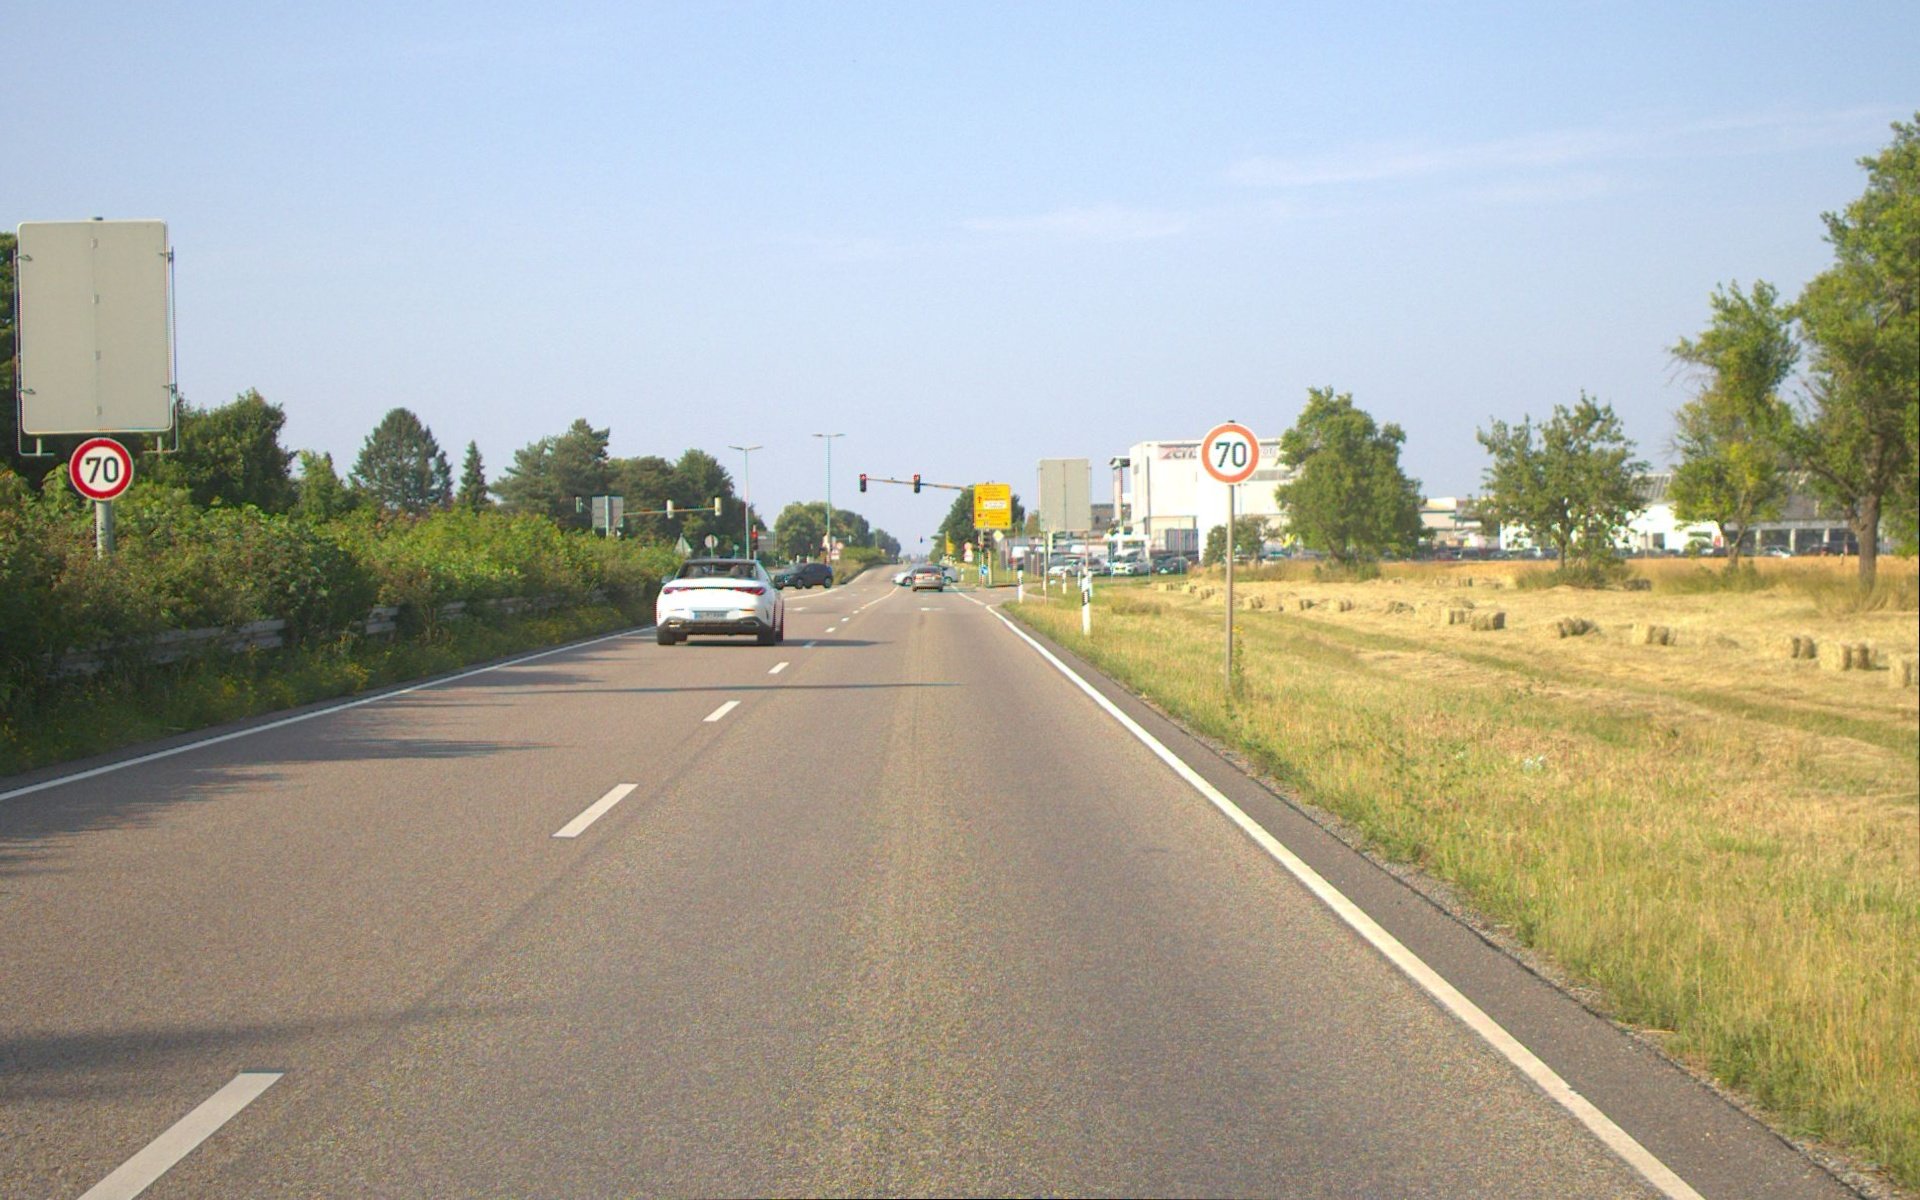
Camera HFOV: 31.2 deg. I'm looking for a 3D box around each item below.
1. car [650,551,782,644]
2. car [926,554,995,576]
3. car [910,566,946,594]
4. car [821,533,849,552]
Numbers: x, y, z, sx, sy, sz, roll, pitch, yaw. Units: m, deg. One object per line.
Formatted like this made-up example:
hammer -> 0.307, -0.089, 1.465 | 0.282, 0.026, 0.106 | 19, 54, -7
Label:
car -> -3.864, -0.072, 55.087 | 1.909, 1.417, 4.000 | 0, 1, -1
car -> 0.026, -2.237, 222.062 | 3.986, 1.403, 1.954 | 0, 1, -20
car -> -1.832, -1.136, 194.201 | 1.993, 1.481, 4.000 | 0, 1, -1
car -> -9.408, -4.302, 258.248 | 1.947, 1.403, 4.000 | 0, 1, 0
